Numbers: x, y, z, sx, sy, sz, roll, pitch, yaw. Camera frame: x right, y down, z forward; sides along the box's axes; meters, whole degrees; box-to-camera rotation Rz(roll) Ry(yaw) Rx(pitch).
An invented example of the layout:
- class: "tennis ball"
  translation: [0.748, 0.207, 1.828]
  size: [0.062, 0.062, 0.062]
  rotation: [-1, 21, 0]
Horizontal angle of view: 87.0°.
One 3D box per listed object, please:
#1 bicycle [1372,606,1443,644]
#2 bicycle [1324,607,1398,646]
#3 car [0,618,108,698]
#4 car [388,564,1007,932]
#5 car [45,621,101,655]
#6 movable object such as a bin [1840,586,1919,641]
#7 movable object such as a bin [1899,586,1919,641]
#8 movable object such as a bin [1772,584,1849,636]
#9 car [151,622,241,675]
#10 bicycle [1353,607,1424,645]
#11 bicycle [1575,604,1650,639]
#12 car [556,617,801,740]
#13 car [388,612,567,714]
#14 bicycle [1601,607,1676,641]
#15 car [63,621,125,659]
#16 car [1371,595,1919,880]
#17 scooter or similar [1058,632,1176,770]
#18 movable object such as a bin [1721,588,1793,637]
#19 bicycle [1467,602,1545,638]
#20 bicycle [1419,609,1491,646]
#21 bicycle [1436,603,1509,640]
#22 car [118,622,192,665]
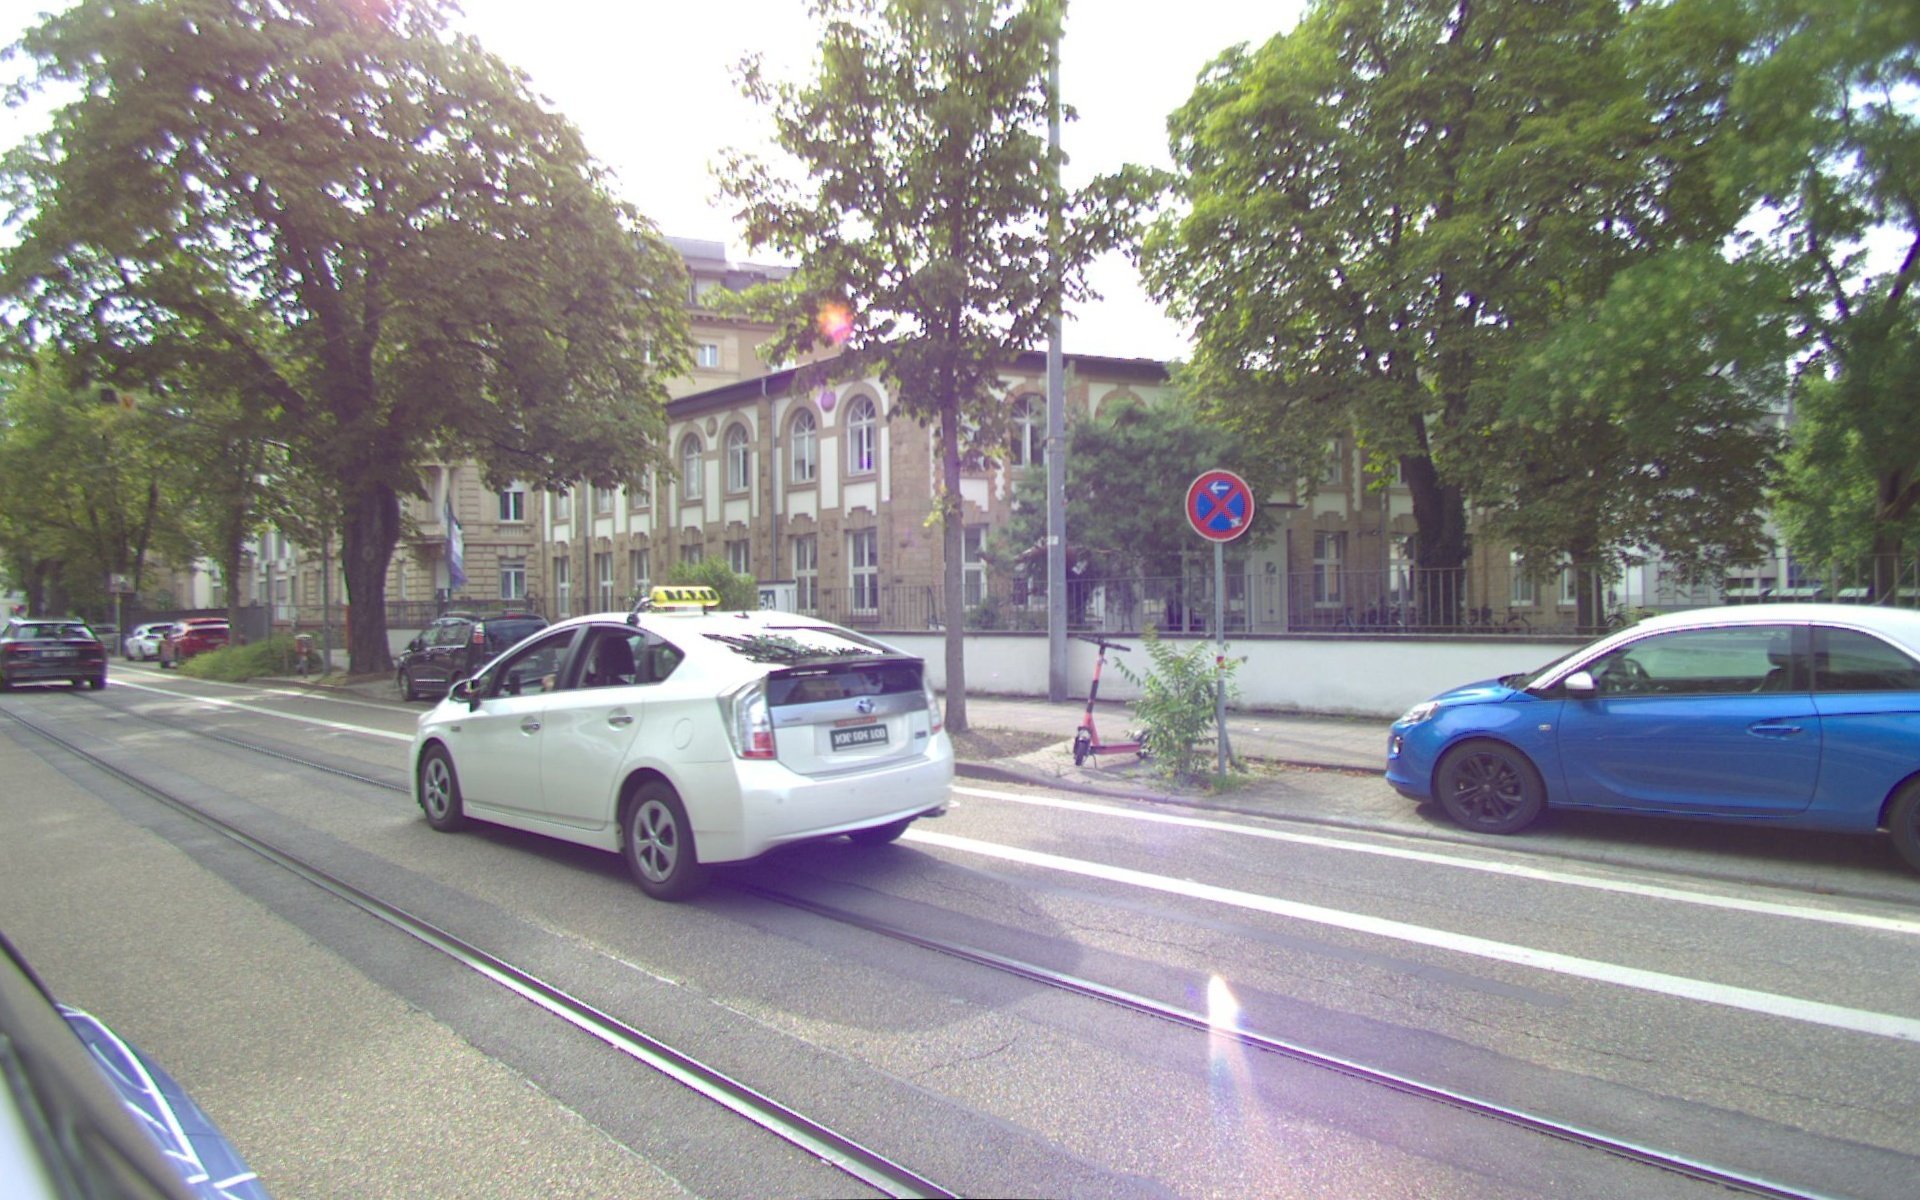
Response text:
- class: "bicycle"
  translation: [12.878, 0.698, 29.173]
  size: [0.584, 1.051, 1.984]
  rotation: [-1, 0, -23]
- class: "bicycle"
  translation: [11.304, 0.732, 28.603]
  size: [0.584, 1.051, 1.984]
  rotation: [-1, 0, -30]
- class: "car"
  translation: [-21.150, 1.265, 23.210]
  size: [4.332, 1.624, 1.828]
  rotation: [-2, -1, 41]
- class: "car"
  translation: [-1.932, 0.700, 6.541]
  size: [4.331, 1.624, 1.714]
  rotation: [-1, -2, 41]
- class: "car"
  translation: [-45.422, 1.916, 51.811]
  size: [3.904, 1.646, 1.637]
  rotation: [-2, -1, 41]
- class: "movable object such as a bin"
  translation: [25.009, 0.350, 27.469]
  size: [1.103, 1.441, 1.288]
  rotation: [0, 0, -21]
- class: "movable object such as a bin"
  translation: [25.387, 0.345, 26.150]
  size: [1.103, 1.441, 1.288]
  rotation: [0, 0, -21]
- class: "movable object such as a bin"
  translation: [24.298, 0.269, 28.930]
  size: [1.103, 1.441, 1.288]
  rotation: [0, 0, -21]
- class: "car"
  translation: [-25.677, 1.598, 33.967]
  size: [3.904, 1.646, 1.637]
  rotation: [-2, -1, 41]
- class: "bicycle"
  translation: [12.183, 0.722, 28.840]
  size: [0.584, 1.051, 1.984]
  rotation: [-1, 0, -23]
- class: "bicycle"
  translation: [20.620, 0.673, 32.046]
  size: [0.584, 1.051, 1.984]
  rotation: [-1, 0, -23]
- class: "car"
  translation: [-4.017, 1.003, 14.202]
  size: [3.572, 1.476, 1.611]
  rotation: [-2, -1, 41]
- class: "car"
  translation: [-8.921, 1.089, 18.601]
  size: [3.723, 1.646, 1.637]
  rotation: [-2, -1, 41]
- class: "bicycle"
  translation: [21.840, 0.751, 32.598]
  size: [0.584, 1.051, 1.984]
  rotation: [-1, 0, -23]
- class: "car"
  translation: [-40.072, 1.846, 46.818]
  size: [3.904, 1.646, 1.637]
  rotation: [-2, -1, 41]
- class: "car"
  translation: [4.779, 0.736, 6.535]
  size: [3.600, 1.476, 1.611]
  rotation: [-2, -1, 41]
- class: "scooter or similar"
  translation: [1.478, 0.925, 9.500]
  size: [0.988, 1.176, 0.370]
  rotation: [-3, 0, -24]
- class: "movable object such as a bin"
  translation: [23.786, 0.366, 30.226]
  size: [1.103, 1.441, 1.288]
  rotation: [0, 0, -21]
- class: "bicycle"
  translation: [16.692, 0.615, 30.969]
  size: [1.978, 1.051, 0.586]
  rotation: [-1, 0, 44]
- class: "bicycle"
  translation: [14.479, 0.790, 29.665]
  size: [0.584, 1.051, 1.984]
  rotation: [-1, 0, -23]
- class: "bicycle"
  translation: [15.171, 0.634, 30.004]
  size: [0.584, 1.051, 1.984]
  rotation: [-1, 0, -23]
- class: "car"
  translation: [-31.933, 1.696, 40.130]
  size: [3.904, 1.613, 1.637]
  rotation: [-2, -1, 41]
